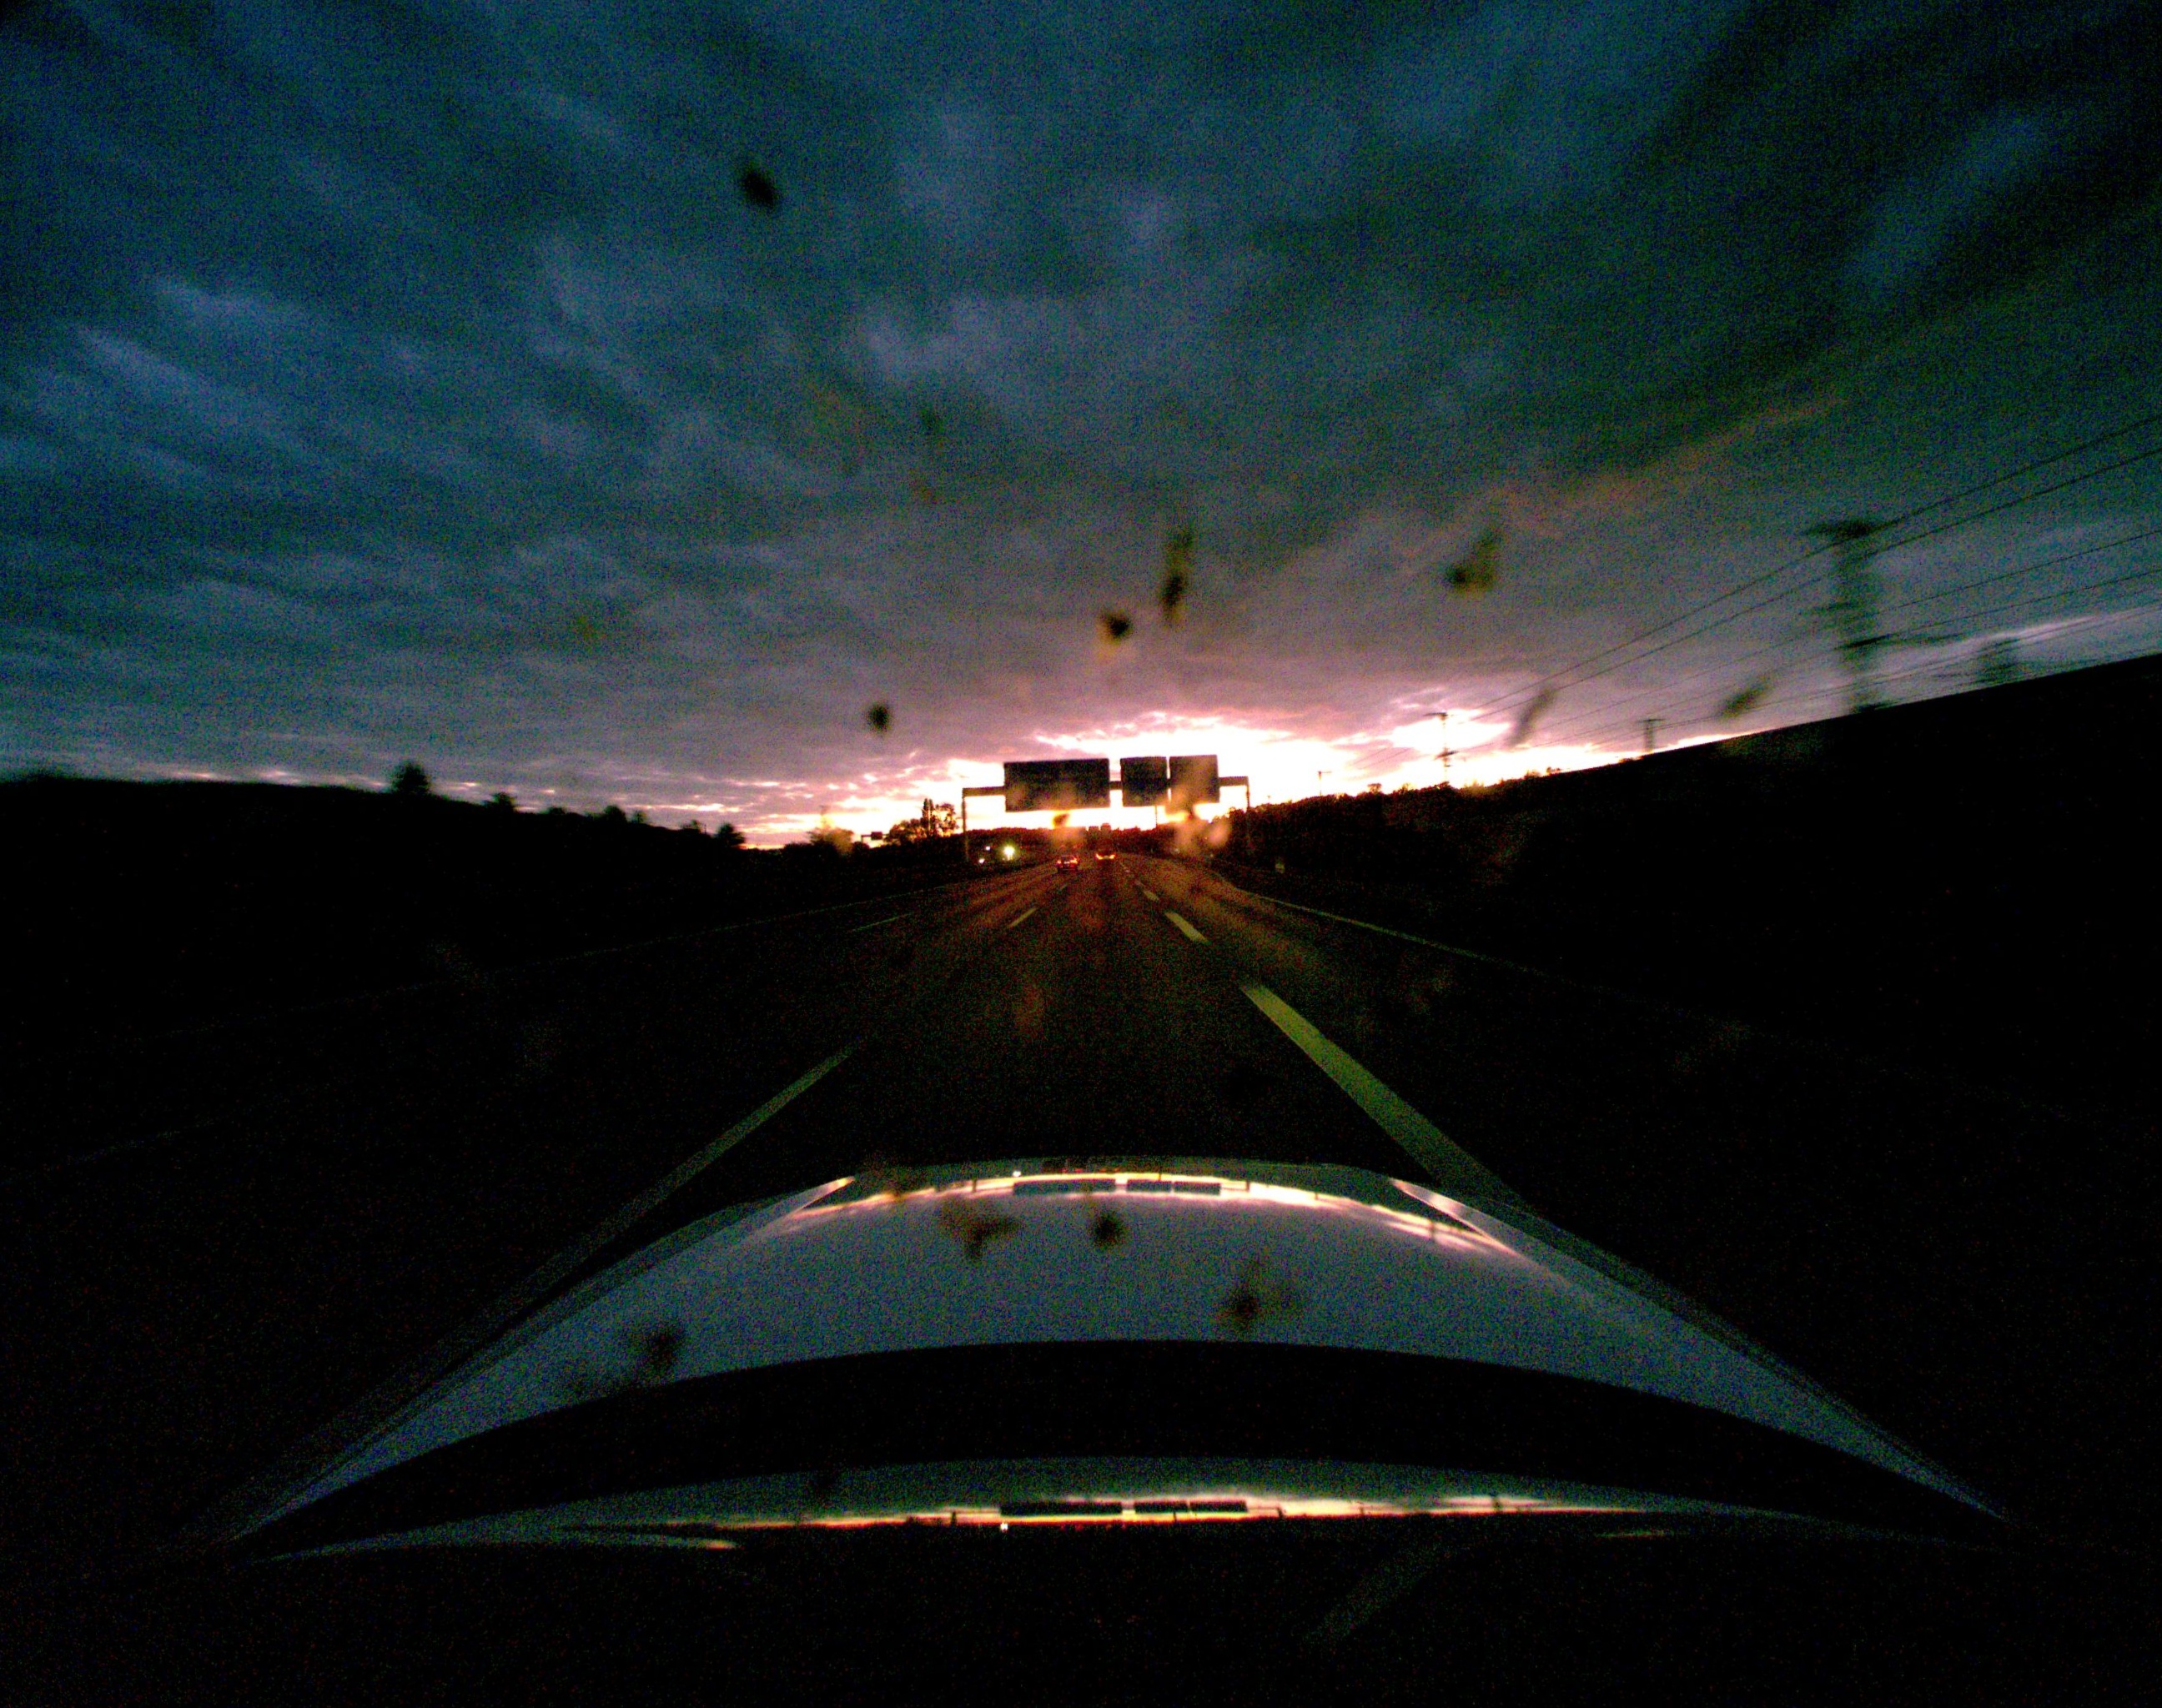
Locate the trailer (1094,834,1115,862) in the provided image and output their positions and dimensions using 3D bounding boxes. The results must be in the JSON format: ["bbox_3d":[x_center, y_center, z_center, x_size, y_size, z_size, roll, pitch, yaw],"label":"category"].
[{"bbox_3d":[3.676,-1.033,128.954,2.713,4.070,8.830,-4,1,0],"label":"trailer"}]

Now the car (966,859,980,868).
[{"bbox_3d":[-17.950,1.570,135.303,1.683,1.401,4.430,-1,-1,2],"label":"car"}]

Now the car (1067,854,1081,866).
[{"bbox_3d":[-0.928,0.830,110.002,1.684,1.401,3.408,-5,-1,0],"label":"car"}]

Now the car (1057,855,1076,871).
[{"bbox_3d":[-1.385,0.835,77.350,1.685,1.401,3.406,-4,0,-2],"label":"car"}]
